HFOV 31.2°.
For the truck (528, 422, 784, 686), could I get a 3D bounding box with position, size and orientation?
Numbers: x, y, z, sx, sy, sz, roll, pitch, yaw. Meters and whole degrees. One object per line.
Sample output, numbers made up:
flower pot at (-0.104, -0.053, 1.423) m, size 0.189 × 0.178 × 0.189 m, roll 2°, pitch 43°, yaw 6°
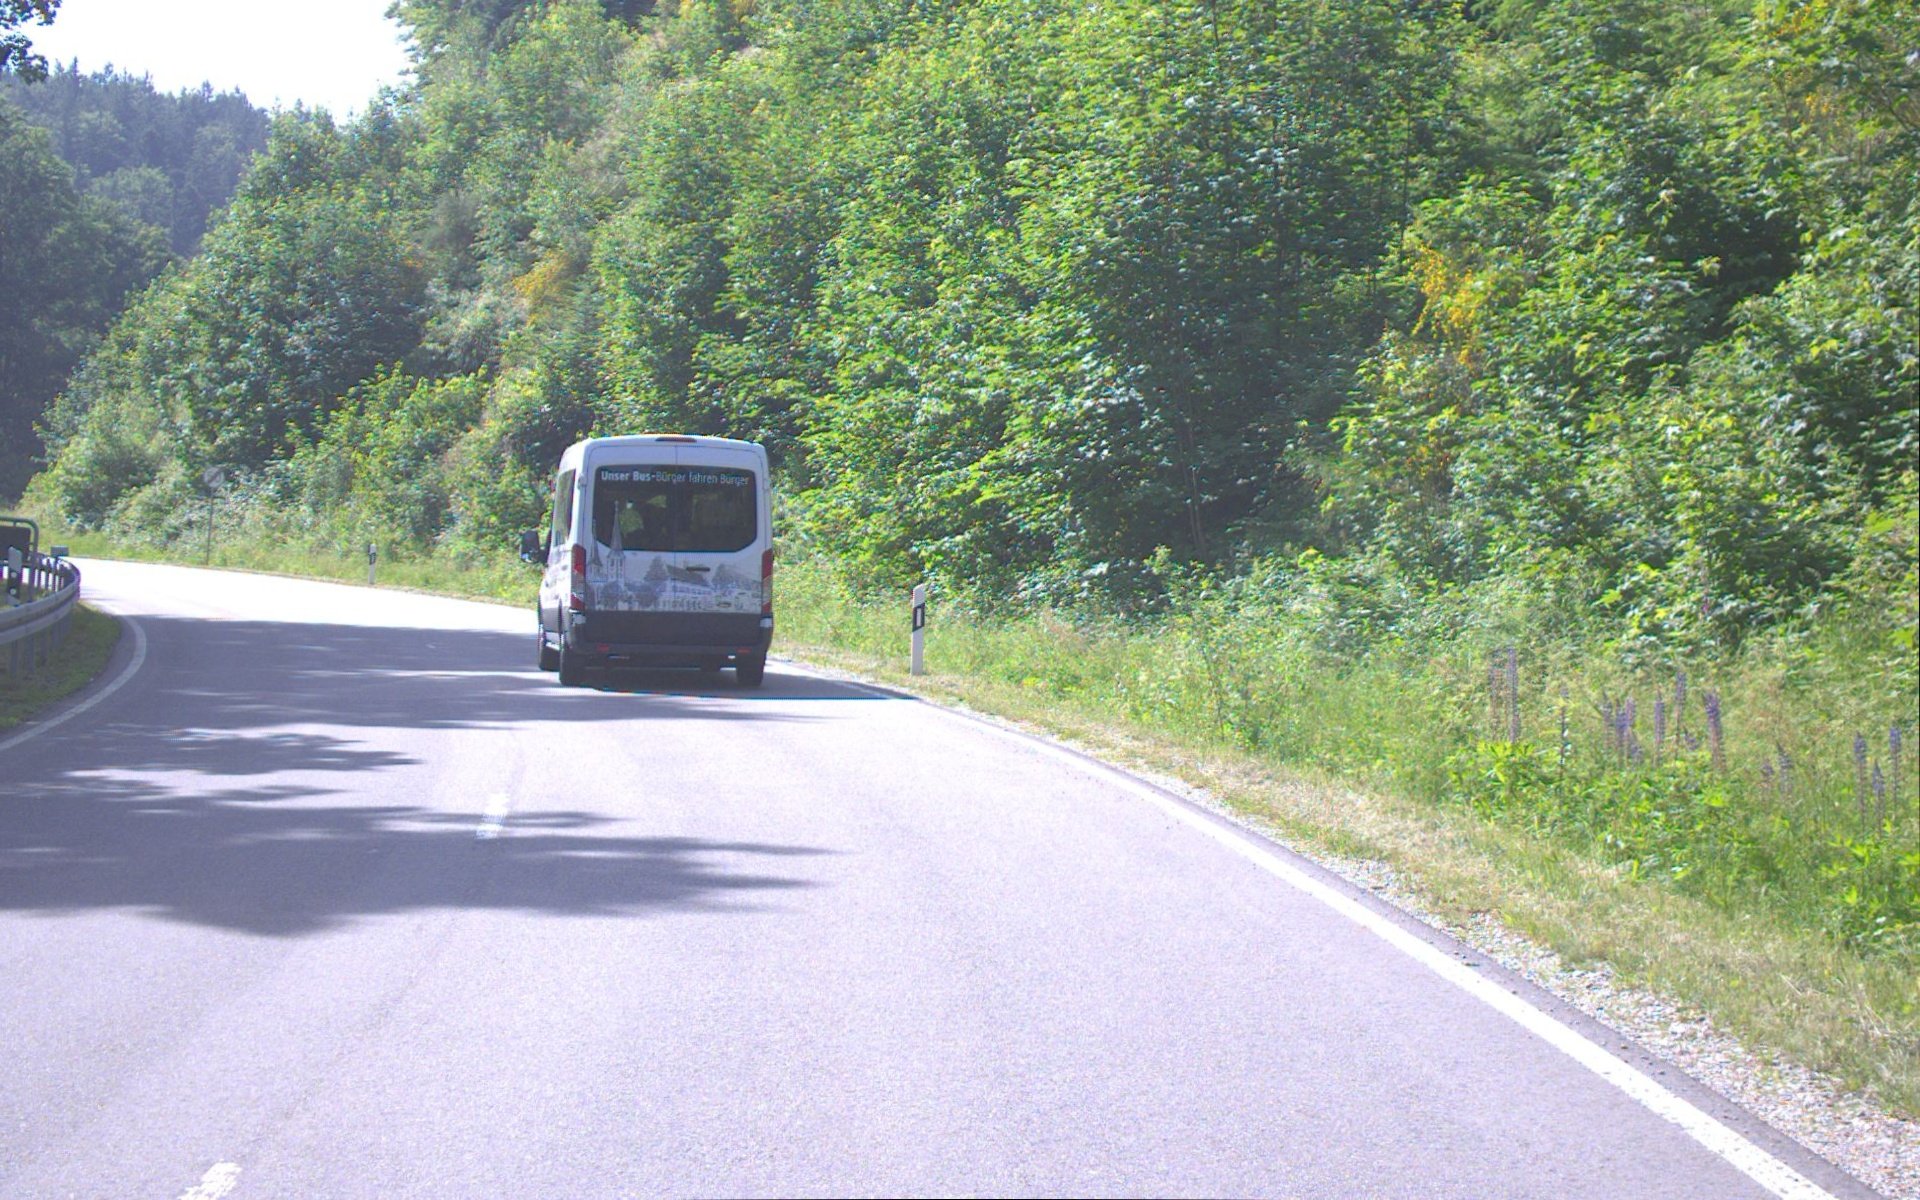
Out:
truck at (-3.224, -0.498, 35.417) m, size 2.115 × 2.489 × 5.361 m, roll 1°, pitch 1°, yaw -10°
